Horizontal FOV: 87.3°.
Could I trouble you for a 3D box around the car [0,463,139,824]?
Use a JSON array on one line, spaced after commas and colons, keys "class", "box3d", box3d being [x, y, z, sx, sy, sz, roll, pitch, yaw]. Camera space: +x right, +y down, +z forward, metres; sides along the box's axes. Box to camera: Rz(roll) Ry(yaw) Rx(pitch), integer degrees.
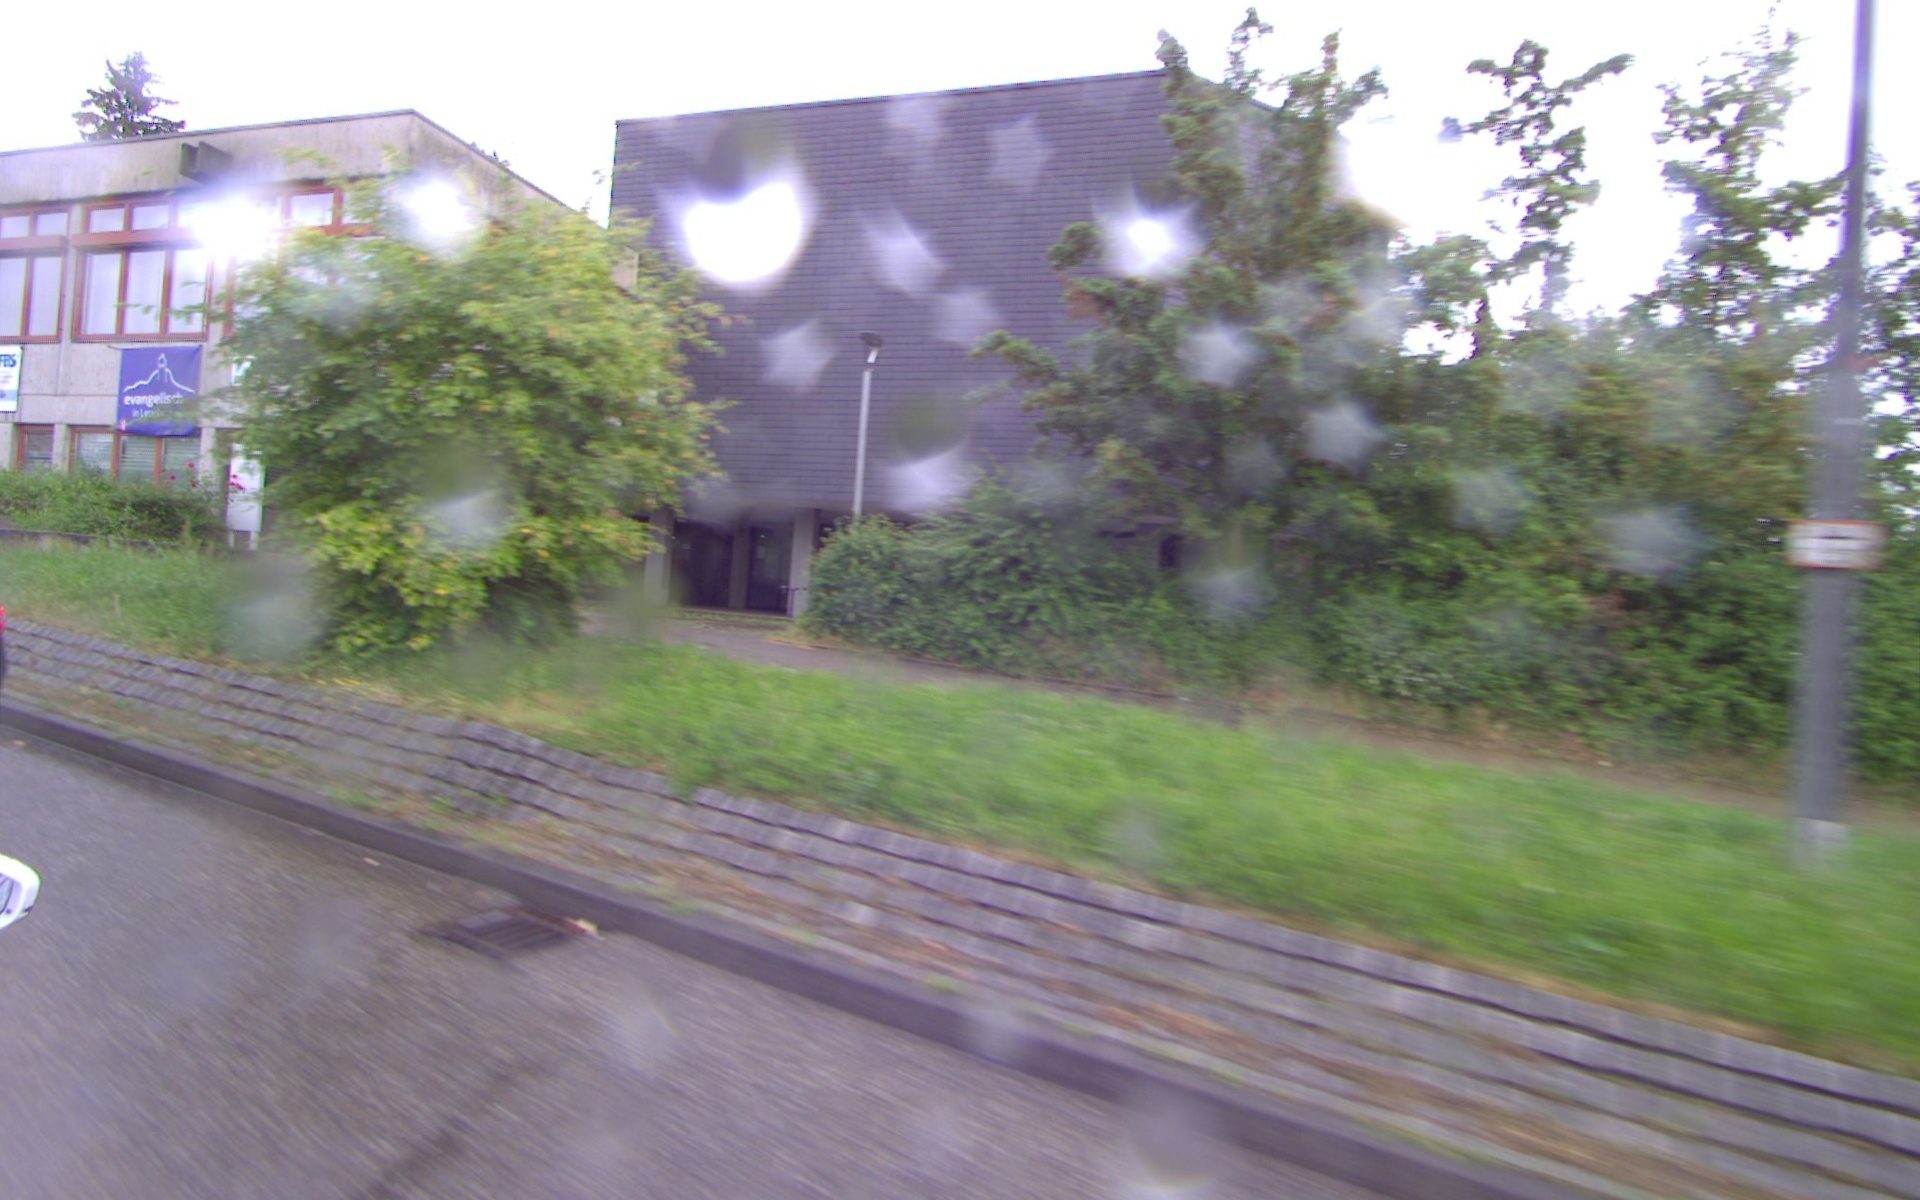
[{"class": "car", "box3d": [-6.330, -0.081, 4.702, 4.526, 1.524, 1.961, 6, -3, 25]}]
